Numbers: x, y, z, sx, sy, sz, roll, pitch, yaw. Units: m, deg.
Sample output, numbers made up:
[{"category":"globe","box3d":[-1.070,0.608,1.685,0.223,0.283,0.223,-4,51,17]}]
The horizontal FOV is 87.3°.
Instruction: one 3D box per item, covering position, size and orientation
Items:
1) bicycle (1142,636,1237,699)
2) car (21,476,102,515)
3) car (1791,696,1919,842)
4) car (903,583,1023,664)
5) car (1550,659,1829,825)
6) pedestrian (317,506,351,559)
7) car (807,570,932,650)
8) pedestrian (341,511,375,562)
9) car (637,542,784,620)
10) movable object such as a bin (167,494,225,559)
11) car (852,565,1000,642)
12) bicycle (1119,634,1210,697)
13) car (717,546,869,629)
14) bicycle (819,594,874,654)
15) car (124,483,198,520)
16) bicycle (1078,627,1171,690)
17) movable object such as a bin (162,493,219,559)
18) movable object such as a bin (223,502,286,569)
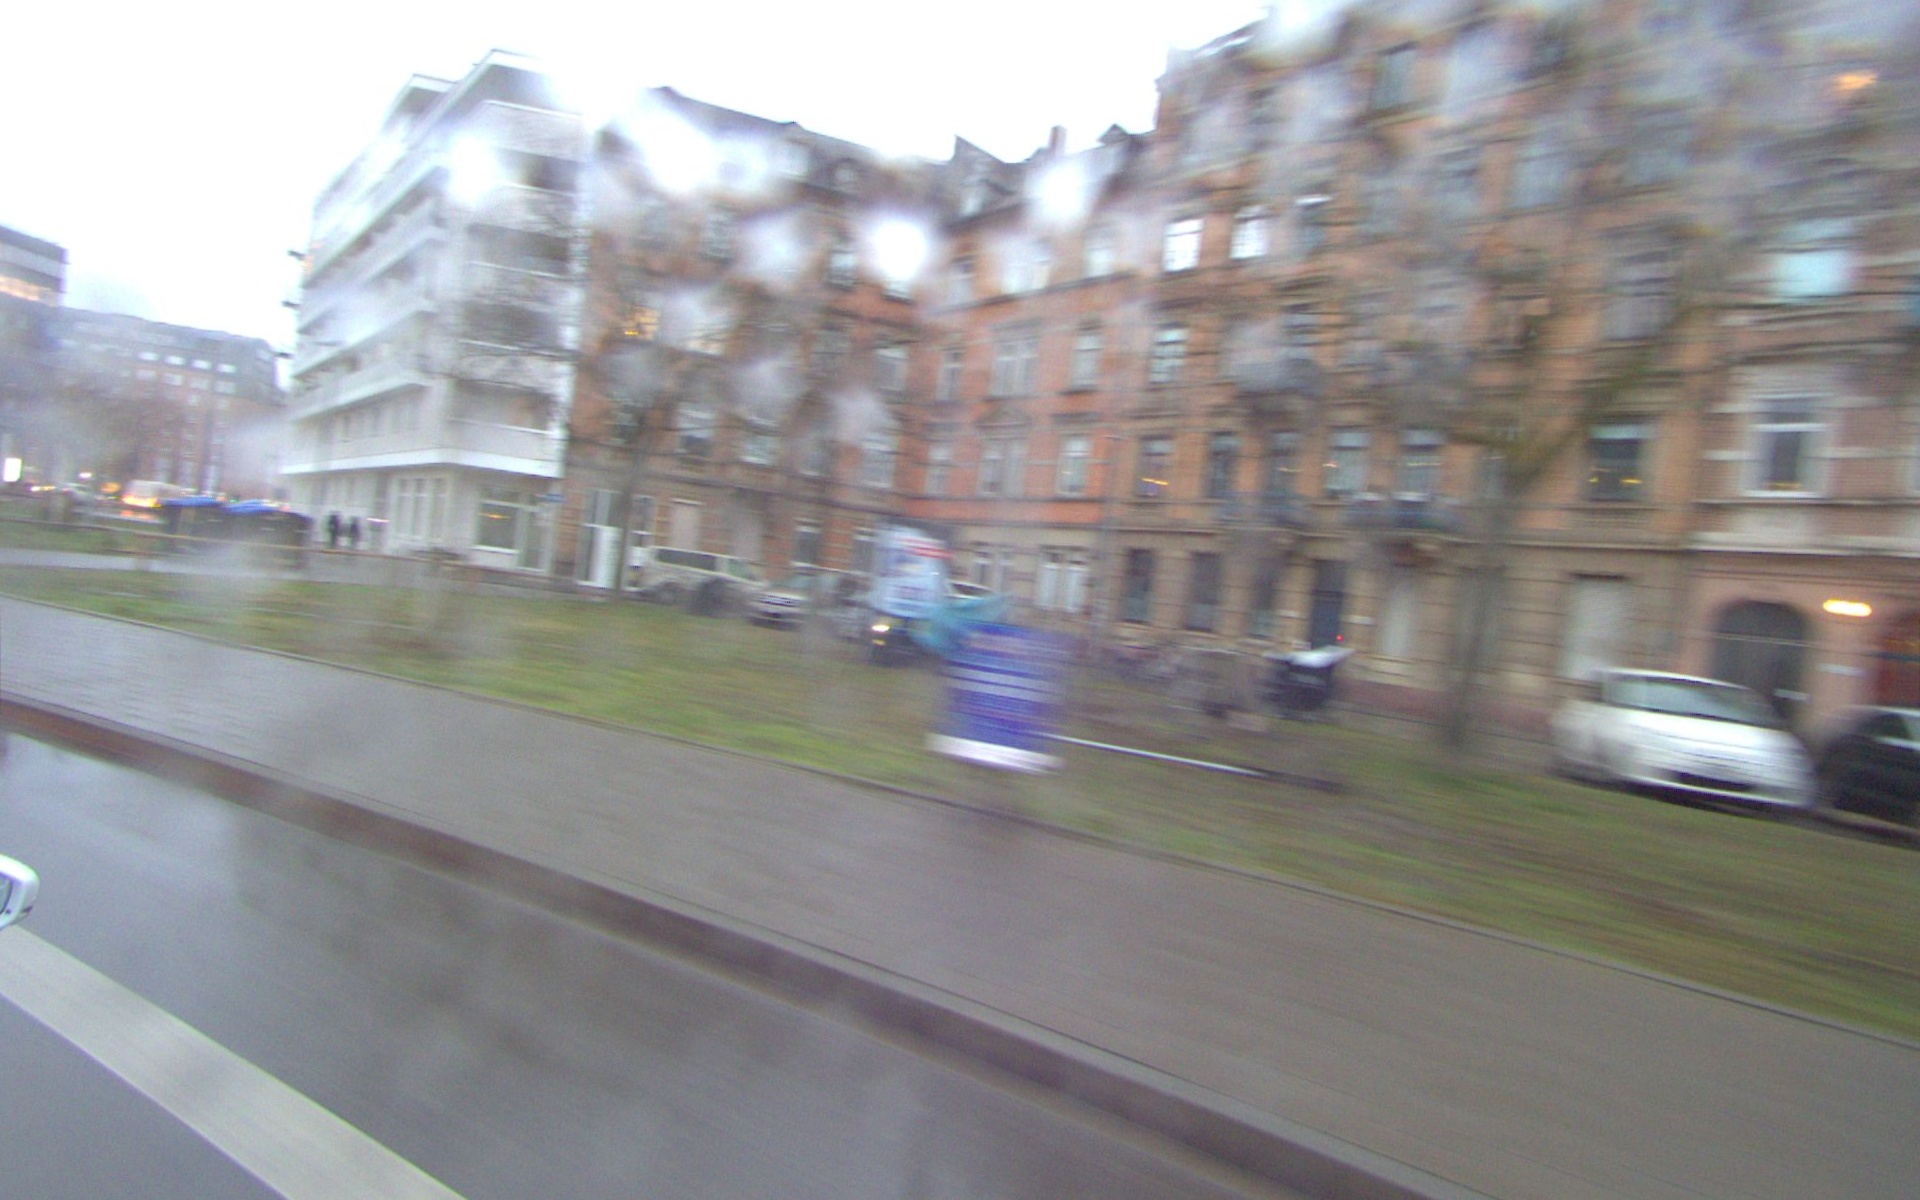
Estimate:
[{"category":"bicycle","box3d":[4.104,1.222,17.859,0.617,0.978,2.161,7,0,40]},{"category":"car","box3d":[-66.257,-7.664,74.254,1.963,2.036,4.005,8,-2,4]},{"category":"car","box3d":[10.499,1.849,10.288,1.632,1.367,3.436,8,-1,15]},{"category":"car","box3d":[0.163,0.524,21.409,1.666,1.353,3.861,7,0,12]},{"category":"car","box3d":[8.464,1.586,12.034,1.584,1.459,3.470,8,-2,19]},{"category":"pedestrian","box3d":[-22.152,-2.392,35.596,0.598,1.733,0.674,7,-2,43]},{"category":"car","box3d":[-1.906,0.287,22.347,1.645,1.370,3.748,8,-1,11]},{"category":"pedestrian","box3d":[-21.615,-2.281,36.120,0.621,1.733,0.675,7,-2,43]},{"category":"car","box3d":[-8.772,-0.630,35.469,4.678,1.940,1.995,9,-2,-15]},{"category":"movable object such as a bin","box3d":[-18.807,-1.807,24.753,1.009,1.434,1.210,6,2,-39]},{"category":"car","box3d":[-1.226,0.074,34.212,4.920,2.039,1.989,7,1,44]},{"category":"bicycle","box3d":[3.937,1.274,19.221,0.617,0.977,2.163,10,0,40]},{"category":"car","box3d":[-3.910,-0.235,24.277,1.907,1.657,4.000,6,0,16]},{"category":"bicycle","box3d":[-2.154,0.432,18.917,0.507,0.948,1.643,7,1,-22]},{"category":"car","box3d":[-66.381,-8.168,83.704,1.964,2.036,4.953,8,-3,-1]},{"category":"bicycle","box3d":[3.189,1.144,19.370,0.617,0.977,2.163,10,0,40]},{"category":"movable object such as a bin","box3d":[-19.959,-1.915,26.093,1.023,1.513,1.315,7,0,-39]},{"category":"movable object such as a bin","box3d":[-17.907,-1.623,25.572,1.027,1.507,1.033,9,-2,-30]}]
